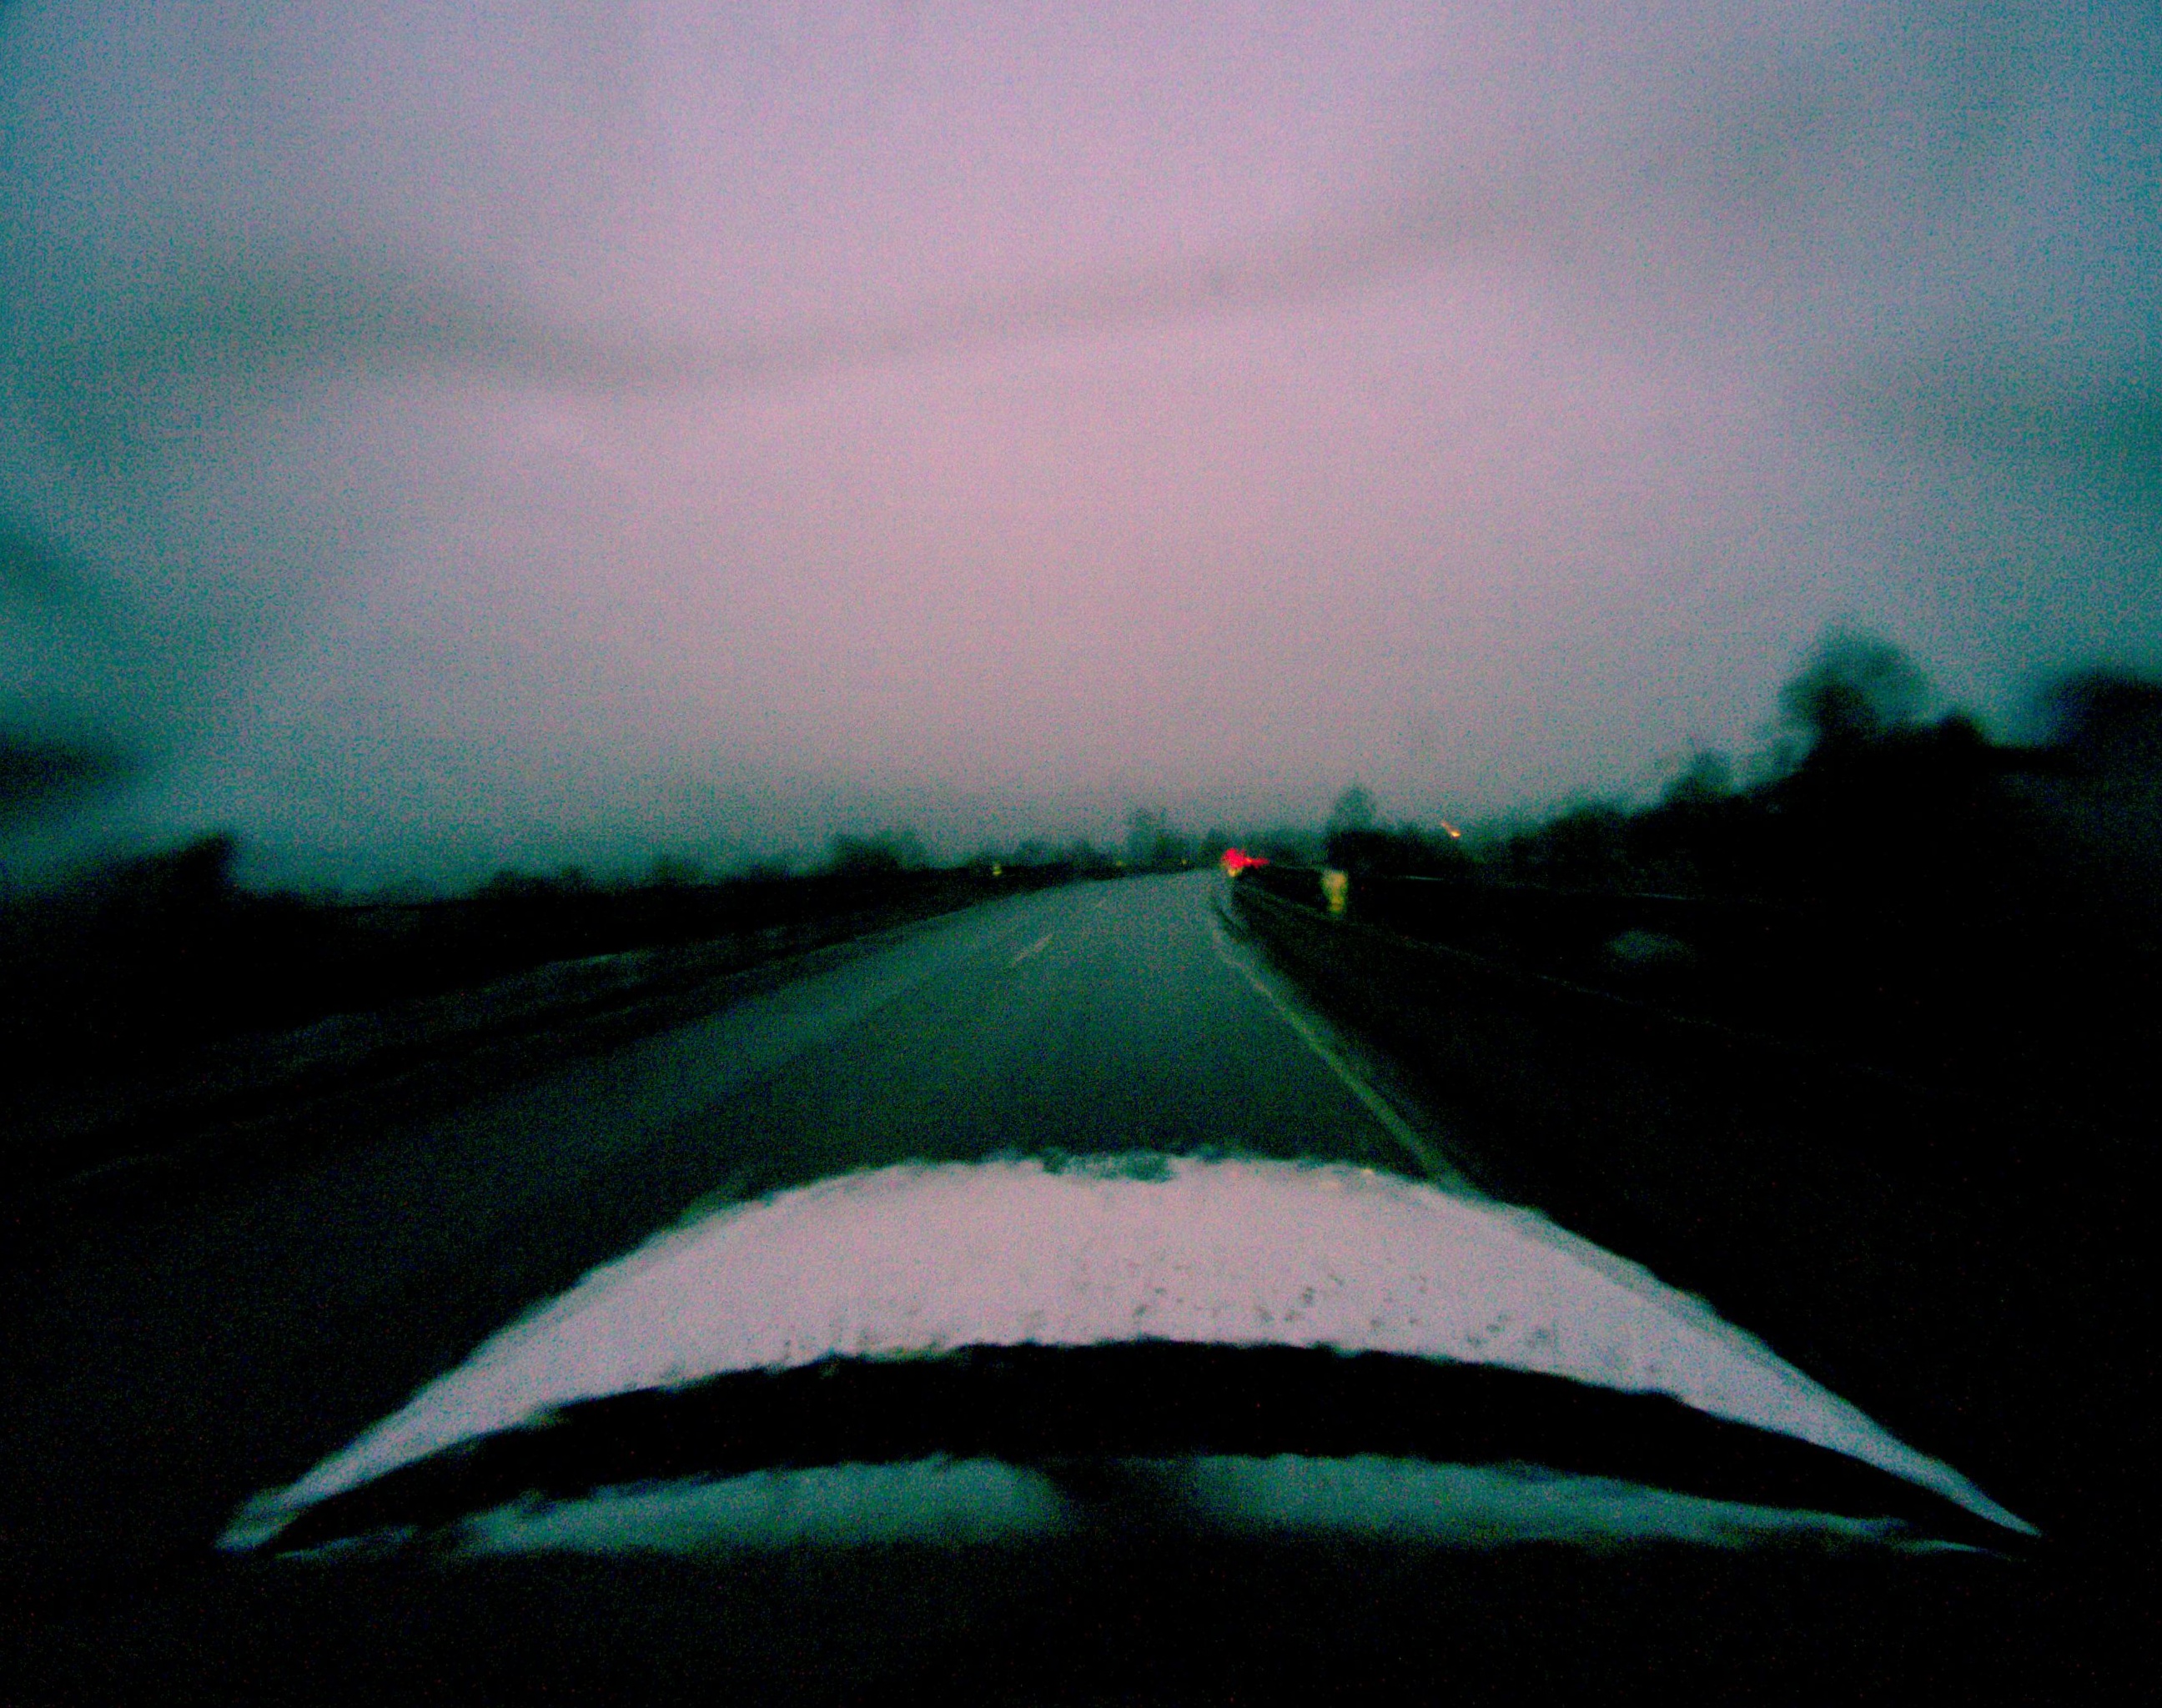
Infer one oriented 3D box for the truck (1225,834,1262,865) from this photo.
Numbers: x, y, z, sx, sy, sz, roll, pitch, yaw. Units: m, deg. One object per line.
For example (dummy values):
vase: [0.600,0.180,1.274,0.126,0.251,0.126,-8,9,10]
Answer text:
truck: [15.651,-0.429,77.959,2.510,2.869,5.953,0,0,21]
